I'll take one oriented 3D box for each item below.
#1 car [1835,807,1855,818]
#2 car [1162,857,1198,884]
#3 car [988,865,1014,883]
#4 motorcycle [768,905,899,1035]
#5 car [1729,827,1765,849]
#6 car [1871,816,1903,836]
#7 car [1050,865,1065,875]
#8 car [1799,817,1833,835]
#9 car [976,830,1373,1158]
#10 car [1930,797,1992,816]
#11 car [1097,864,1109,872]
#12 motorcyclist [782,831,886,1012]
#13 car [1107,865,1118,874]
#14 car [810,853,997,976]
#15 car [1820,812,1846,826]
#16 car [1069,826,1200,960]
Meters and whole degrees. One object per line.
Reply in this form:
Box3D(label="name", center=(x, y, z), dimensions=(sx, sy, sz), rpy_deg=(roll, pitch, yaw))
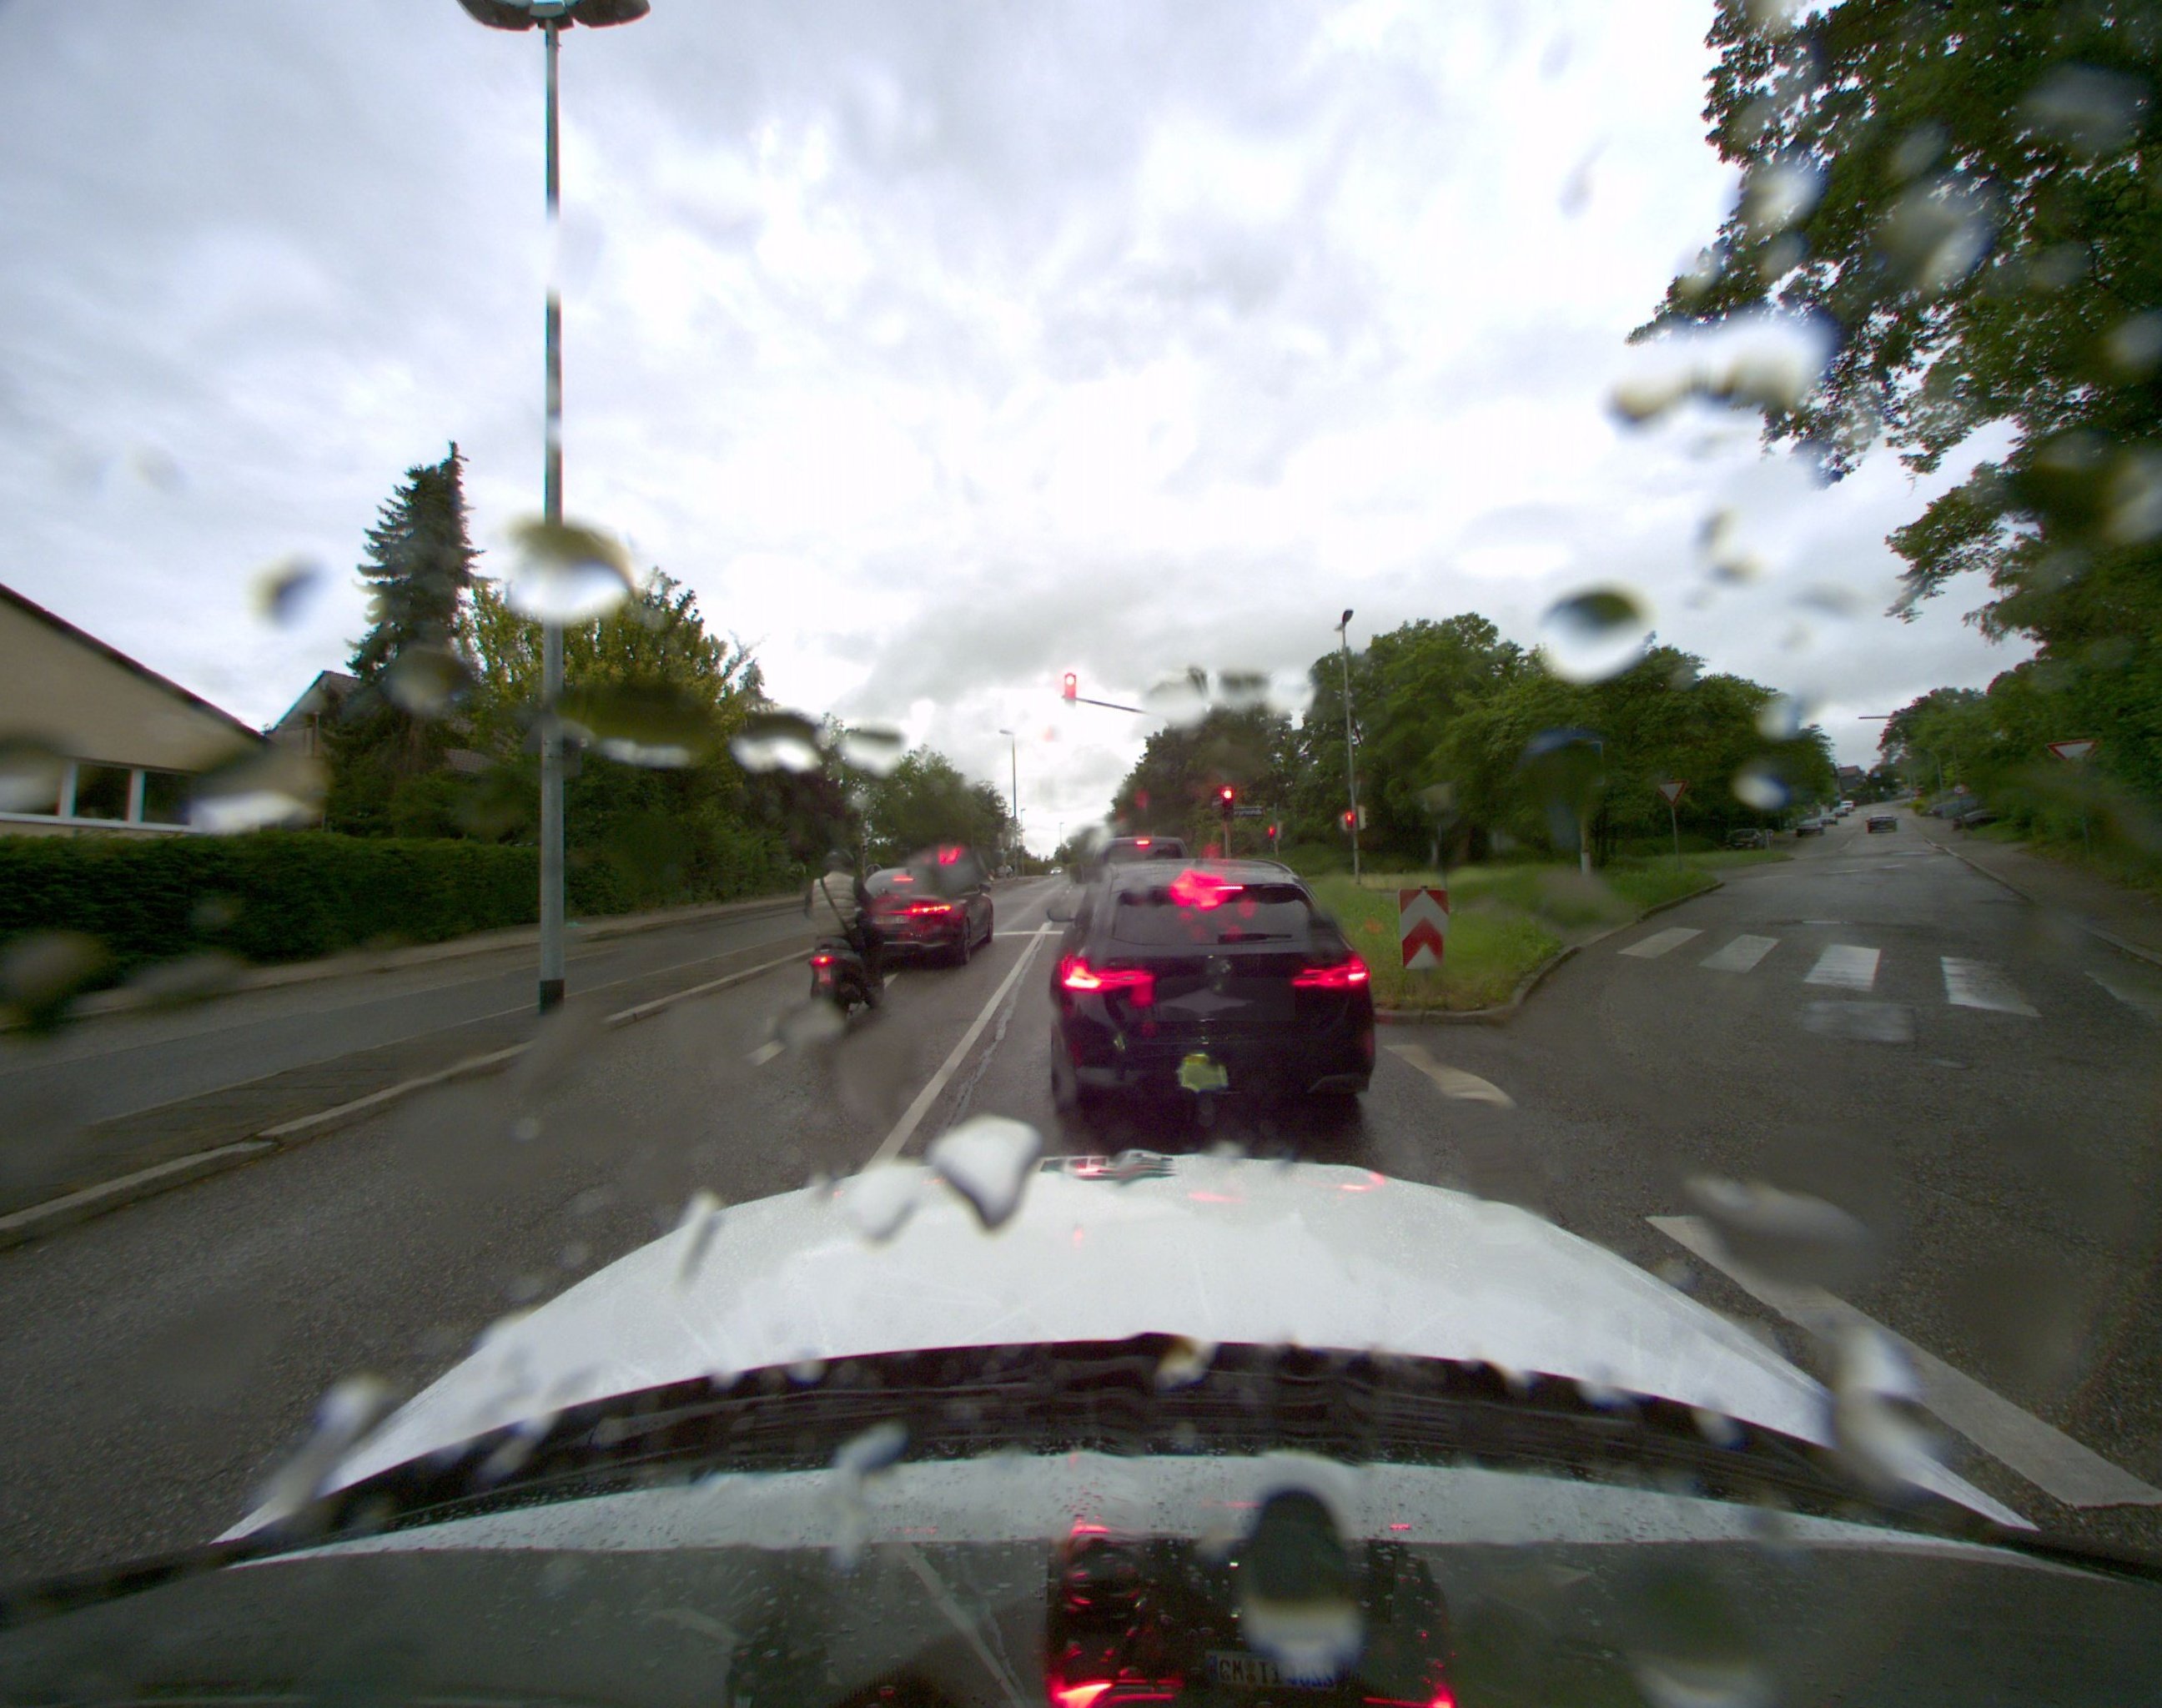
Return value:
Box3D(label="car", center=(114.508, -6.237, 122.071), dimensions=(1.880, 1.397, 4.193), rpy_deg=(-2, -1, 40))
Box3D(label="car", center=(6.339, 1.023, 52.440), dimensions=(1.866, 1.543, 3.954), rpy_deg=(-4, -1, 2))
Box3D(label="car", center=(-8.830, 2.227, 90.144), dimensions=(1.984, 1.826, 4.006), rpy_deg=(-4, -1, 6))
Box3D(label="motorcycle", center=(-2.342, 1.060, 7.928), dimensions=(0.688, 1.053, 1.748), rpy_deg=(-1, -2, 2))
Box3D(label="car", center=(46.030, -1.141, 56.300), dimensions=(1.655, 1.370, 3.512), rpy_deg=(-3, 0, 43))
Box3D(label="car", center=(69.290, -2.424, 69.986), dimensions=(4.187, 1.442, 1.795), rpy_deg=(-4, 1, -44))
Box3D(label="car", center=(-4.147, 2.882, 144.281), dimensions=(1.982, 1.611, 3.680), rpy_deg=(-4, -1, 9))
Box3D(label="car", center=(66.284, -2.534, 73.417), dimensions=(4.318, 1.450, 1.881), rpy_deg=(0, -1, -44))
Box3D(label="car", center=(0.651, 0.721, 6.243), dimensions=(1.889, 1.551, 4.621), rpy_deg=(-1, -1, 5))
Box3D(label="car", center=(87.623, -4.713, 81.190), dimensions=(3.949, 1.574, 1.785), rpy_deg=(-5, -1, 42))
Box3D(label="car", center=(5.002, 3.103, 182.628), dimensions=(2.094, 1.765, 4.879), rpy_deg=(-4, -1, 9))
Box3D(label="motorcyclist", center=(-2.342, 0.624, 7.775), dimensions=(0.762, 1.642, 0.674), rpy_deg=(-1, -1, 1))
Box3D(label="car", center=(5.131, 2.510, 133.966), dimensions=(1.691, 1.427, 3.515), rpy_deg=(-4, -1, 2))
Box3D(label="car", center=(-2.613, 0.843, 13.132), dimensions=(1.987, 1.527, 4.326), rpy_deg=(-4, -1, 0))
Box3D(label="car", center=(88.215, -4.066, 95.546), dimensions=(1.971, 1.446, 4.321), rpy_deg=(-2, -1, 40))
Box3D(label="car", center=(0.840, 0.569, 13.484), dimensions=(1.811, 1.868, 3.954), rpy_deg=(-1, -1, 2))
